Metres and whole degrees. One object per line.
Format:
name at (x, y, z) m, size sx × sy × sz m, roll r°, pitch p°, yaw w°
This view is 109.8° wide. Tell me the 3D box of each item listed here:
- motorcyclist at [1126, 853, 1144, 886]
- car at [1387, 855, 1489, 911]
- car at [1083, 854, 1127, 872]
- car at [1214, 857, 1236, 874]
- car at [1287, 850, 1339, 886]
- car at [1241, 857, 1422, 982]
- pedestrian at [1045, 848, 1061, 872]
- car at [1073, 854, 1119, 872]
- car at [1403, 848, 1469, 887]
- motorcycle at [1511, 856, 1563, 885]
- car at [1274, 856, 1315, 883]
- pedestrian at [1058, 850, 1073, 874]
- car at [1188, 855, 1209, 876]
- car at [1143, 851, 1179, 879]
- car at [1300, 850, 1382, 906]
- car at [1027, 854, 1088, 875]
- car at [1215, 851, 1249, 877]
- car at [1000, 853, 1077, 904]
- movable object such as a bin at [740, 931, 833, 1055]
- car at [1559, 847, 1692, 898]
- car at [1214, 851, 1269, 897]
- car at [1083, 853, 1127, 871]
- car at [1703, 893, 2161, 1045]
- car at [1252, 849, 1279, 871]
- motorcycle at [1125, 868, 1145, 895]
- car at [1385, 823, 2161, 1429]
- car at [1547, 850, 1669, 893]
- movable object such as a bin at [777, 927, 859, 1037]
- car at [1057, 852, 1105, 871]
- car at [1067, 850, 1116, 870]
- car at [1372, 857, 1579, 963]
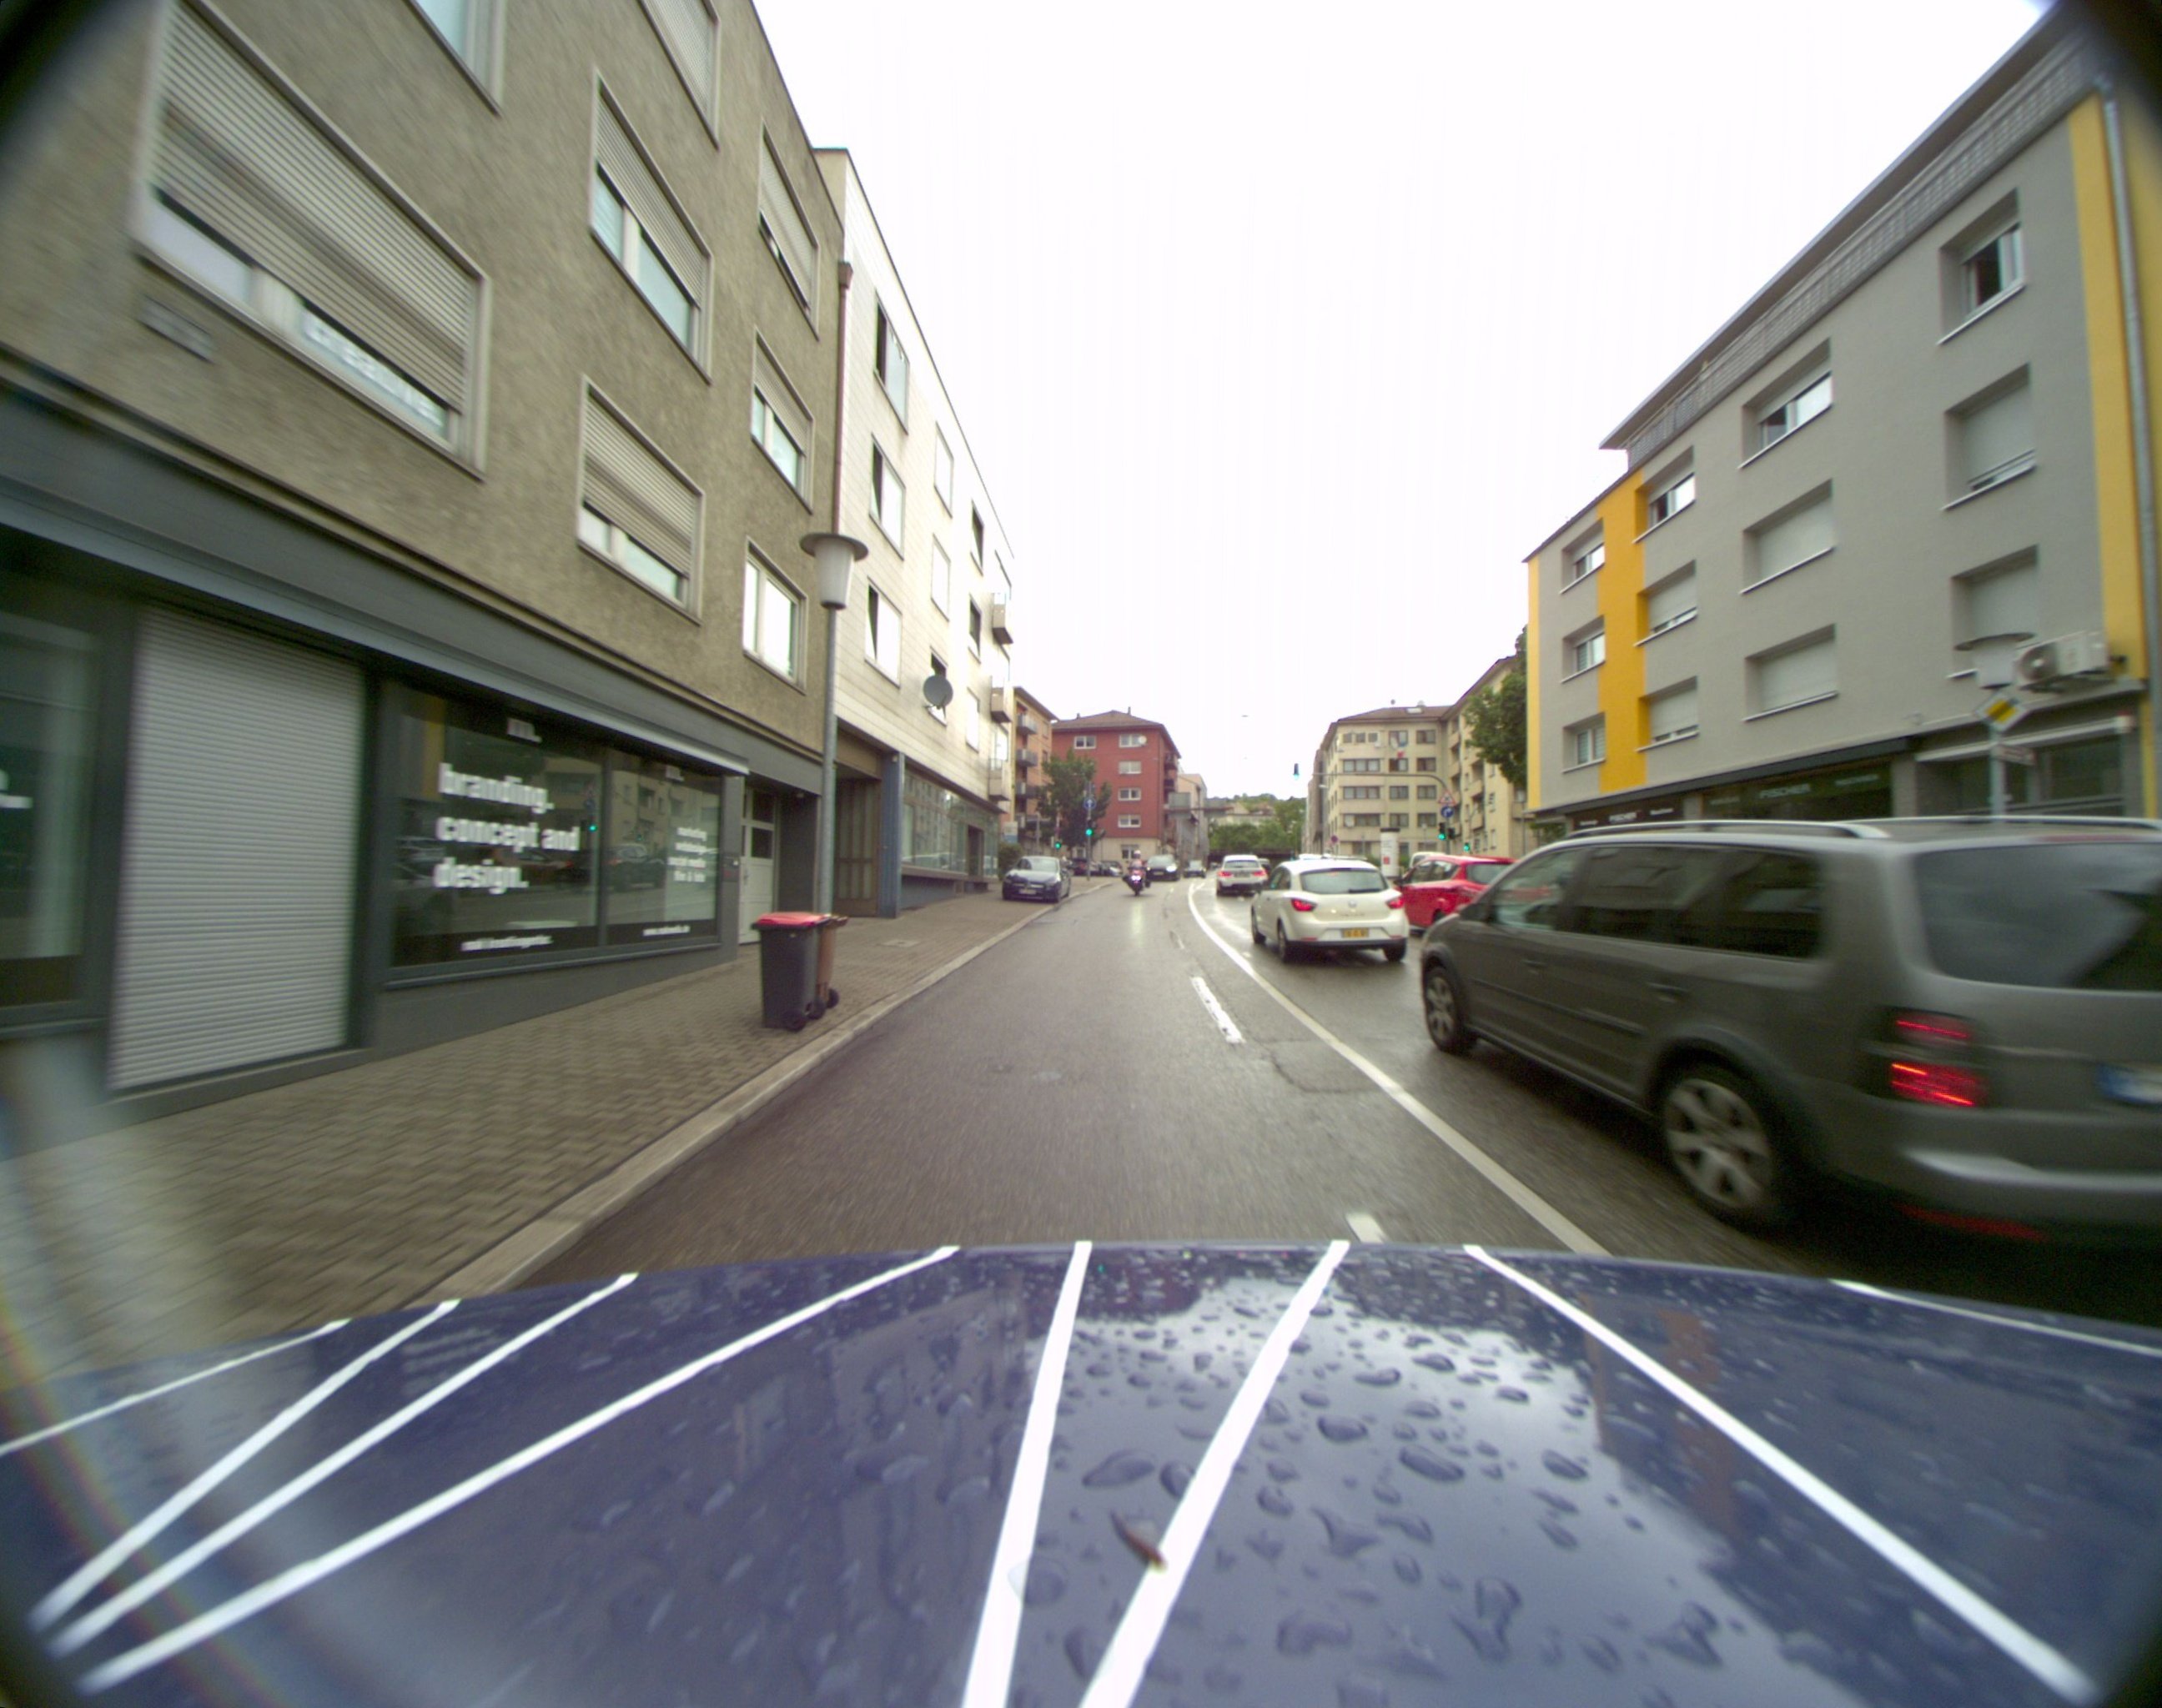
motorcyclist at (2.027, 0.575, 28.670) m, size 0.654 × 1.216 × 0.658 m, roll 0°, pitch 0°, yaw 1°
car at (11.738, 0.888, 25.269) m, size 1.659 × 1.601 × 3.929 m, roll 2°, pitch 1°, yaw 3°
car at (2.361, 0.913, 74.934) m, size 3.990 × 1.571 × 1.679 m, roll -3°, pitch -4°, yaw 32°
car at (14.168, 1.154, 74.668) m, size 1.837 × 1.545 × 4.005 m, roll 0°, pitch -1°, yaw 14°
car at (10.509, 0.633, 34.681) m, size 1.809 × 1.533 × 4.383 m, roll 0°, pitch -1°, yaw 11°
car at (3.638, 0.857, 11.823) m, size 1.702 × 1.471 × 4.292 m, roll -2°, pitch 1°, yaw 5°
pedestrian at (-2.003, 0.444, 54.156) m, size 0.760 × 1.636 × 0.708 m, roll 5°, pitch -4°, yaw -34°
car at (1.392, 0.872, 72.474) m, size 3.991 × 1.687 × 1.804 m, roll 0°, pitch -3°, yaw 21°
car at (19.165, 0.728, 40.919) m, size 4.070 × 1.819 × 1.727 m, roll 3°, pitch 2°, yaw -44°
motorcycle at (20.872, 0.766, 34.799) m, size 1.990 × 1.321 × 0.540 m, roll -1°, pitch -1°, yaw 4°
car at (12.019, 0.868, 42.998) m, size 1.822 × 1.469 × 4.383 m, roll 0°, pitch -1°, yaw 11°
pedestrian at (-1.107, 0.567, 54.045) m, size 0.760 × 1.636 × 0.709 m, roll 5°, pitch -3°, yaw -22°
car at (10.887, 1.136, 70.372) m, size 1.792 × 1.716 × 4.006 m, roll -1°, pitch -4°, yaw 10°
car at (4.524, 0.626, 42.334) m, size 1.873 × 1.433 × 4.003 m, roll -1°, pitch -1°, yaw 8°
car at (8.820, 0.740, 26.165) m, size 1.810 × 1.622 × 4.344 m, roll 3°, pitch 1°, yaw 8°
car at (-1.957, 0.881, 63.944) m, size 4.786 × 1.545 × 1.853 m, roll 1°, pitch -1°, yaw 16°
car at (9.080, 0.559, 45.853) m, size 1.810 × 1.407 × 4.381 m, roll 0°, pitch 1°, yaw 9°
car at (-1.304, 0.733, 25.197) m, size 1.767 × 1.384 × 4.380 m, roll 3°, pitch 1°, yaw 7°
movable object such as a bin at (-2.464, 1.144, 6.395) m, size 0.526 × 0.974 × 0.538 m, roll -1°, pitch -3°, yaw 5°
car at (21.710, 0.725, 30.403) m, size 3.998 × 1.783 × 1.860 m, roll -3°, pitch 0°, yaw -3°
car at (5.997, 0.690, 28.763) m, size 1.810 × 1.512 × 4.564 m, roll 0°, pitch 1°, yaw 9°
car at (2.477, 0.836, 77.376) m, size 3.990 × 1.694 × 2.005 m, roll -2°, pitch -4°, yaw 26°
car at (9.548, 1.175, 8.831) m, size 1.664 × 1.378 × 3.804 m, roll -1°, pitch -4°, yaw 4°
car at (14.289, 0.425, 59.125) m, size 1.822 × 1.528 × 4.381 m, roll 0°, pitch 2°, yaw 11°
motorcycle at (2.027, 1.017, 28.740) m, size 0.637 × 0.921 × 2.365 m, roll -2°, pitch 0°, yaw 1°
car at (3.482, 0.725, 4.370) m, size 1.811 × 1.695 × 4.561 m, roll -1°, pitch 1°, yaw 2°
car at (22.747, 0.737, 32.853) m, size 4.347 × 1.719 × 1.771 m, roll 0°, pitch 2°, yaw -10°
movable object such as a bin at (-2.396, 1.149, 6.960) m, size 0.526 × 0.944 × 0.538 m, roll -1°, pitch -3°, yaw 5°
car at (0.042, 0.712, 67.345) m, size 3.994 × 1.650 × 1.995 m, roll 0°, pitch -1°, yaw 10°
car at (0.963, 0.574, 70.002) m, size 3.990 × 1.709 × 1.997 m, roll -1°, pitch -1°, yaw 25°
car at (6.937, 0.875, 13.916) m, size 1.744 × 1.507 × 4.131 m, roll 2°, pitch 1°, yaw 3°
